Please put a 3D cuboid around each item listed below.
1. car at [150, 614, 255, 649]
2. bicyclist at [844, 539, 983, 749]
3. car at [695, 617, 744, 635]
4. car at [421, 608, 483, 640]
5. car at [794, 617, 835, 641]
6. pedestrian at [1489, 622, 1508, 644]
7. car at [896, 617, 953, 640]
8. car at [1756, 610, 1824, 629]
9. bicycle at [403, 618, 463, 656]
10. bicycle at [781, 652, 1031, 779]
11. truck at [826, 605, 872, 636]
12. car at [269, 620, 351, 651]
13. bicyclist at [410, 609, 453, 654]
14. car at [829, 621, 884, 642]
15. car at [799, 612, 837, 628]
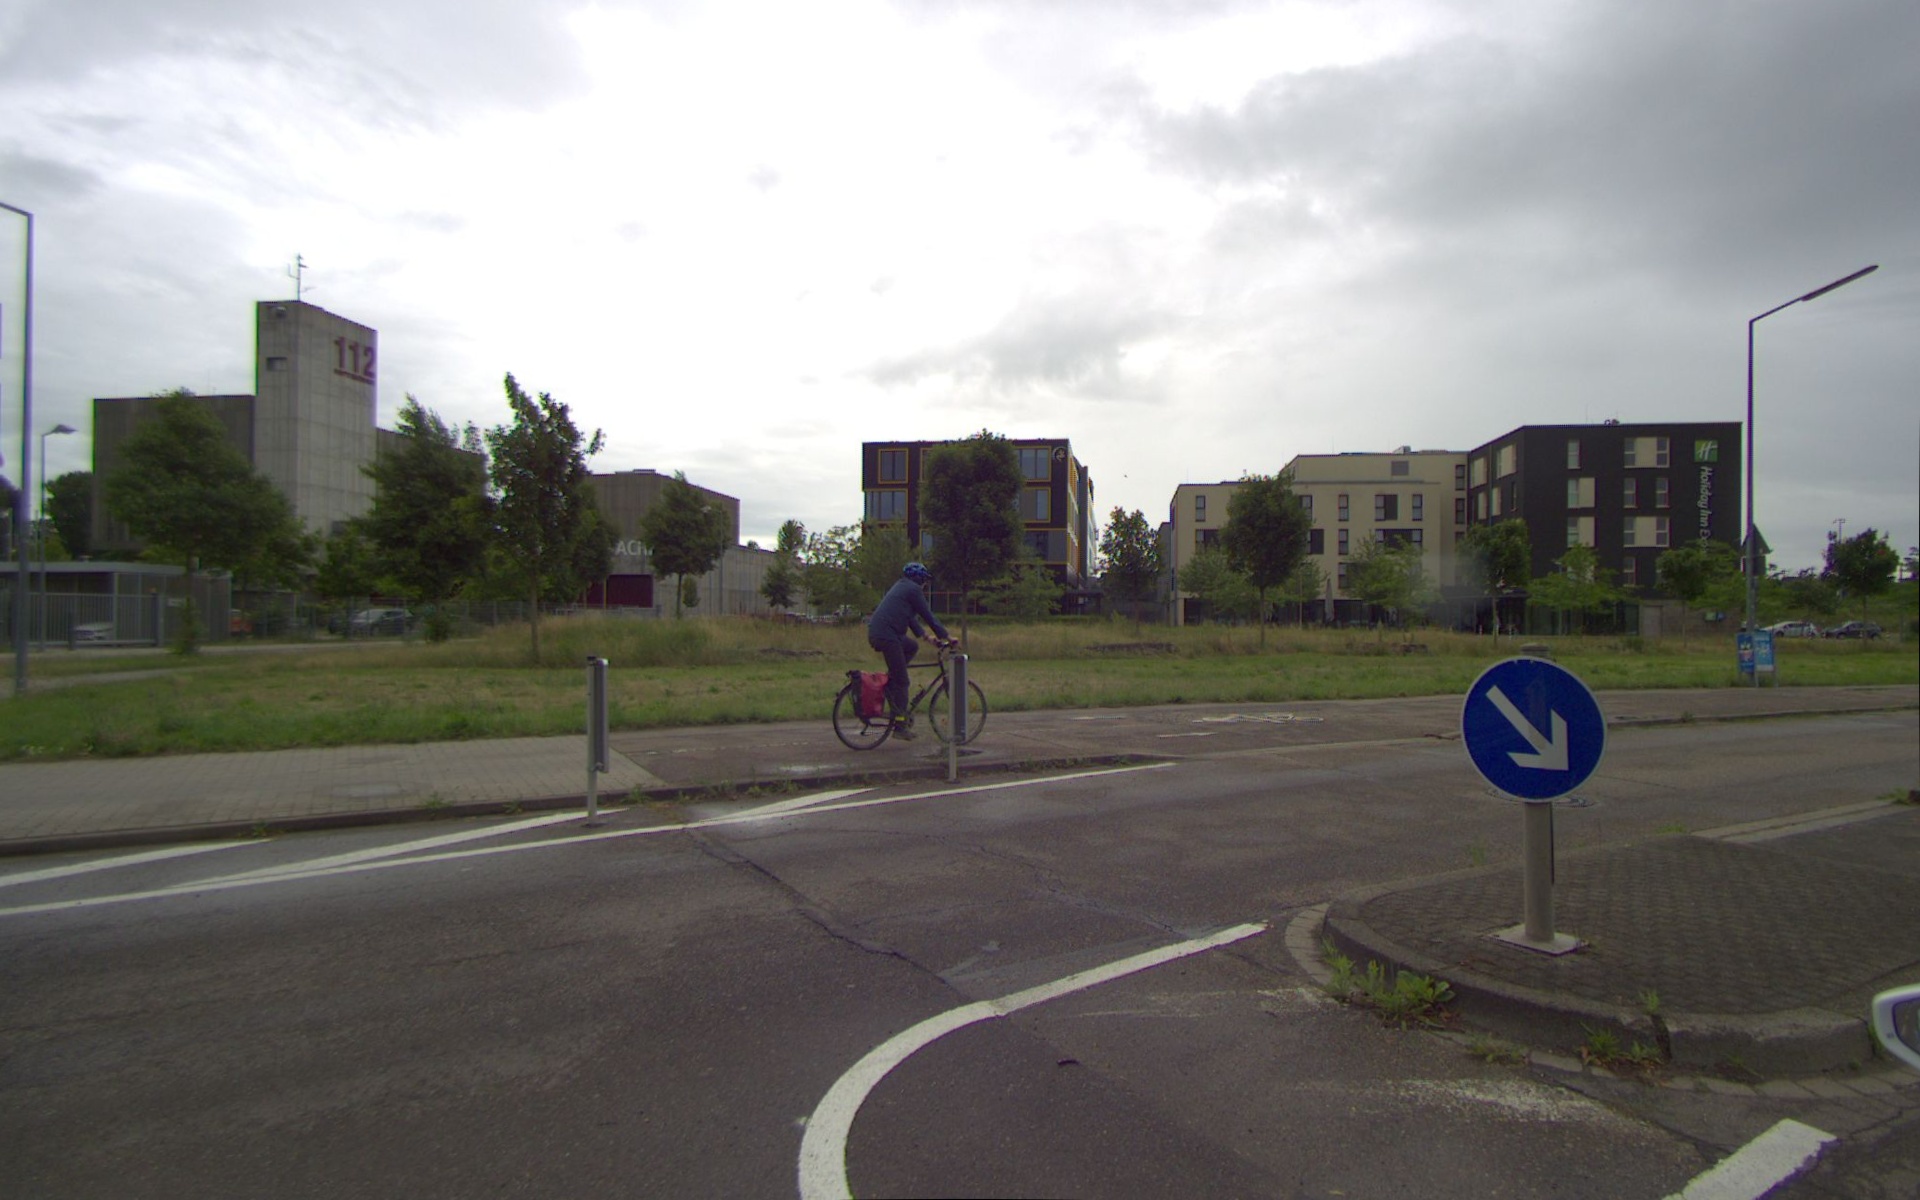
[{"bbox_3d":[-37.379,1.518,49.676,1.737,1.617,4.003,0,-1,10],"label":"car"},{"bbox_3d":[-0.488,0.427,10.393,1.163,2.040,0.857,-1,0,-30],"label":"bicyclist"},{"bbox_3d":[-21.884,2.377,91.443,3.920,1.543,2.001,-1,-2,3],"label":"car"},{"bbox_3d":[-33.852,1.577,67.052,1.960,2.040,4.001,-1,0,3],"label":"car"},{"bbox_3d":[-12.231,2.463,84.920,2.163,1.889,5.101,-1,0,7],"label":"car"},{"bbox_3d":[41.163,2.522,76.791,0.860,1.592,0.952,-1,0,-8],"label":"pedestrian"},{"bbox_3d":[-2.552,2.088,73.022,3.920,1.543,2.001,-1,-2,3],"label":"car"},{"bbox_3d":[70.747,1.645,85.654,4.071,1.538,2.000,-1,0,1],"label":"car"},{"bbox_3d":[-23.022,1.593,43.949,1.064,1.605,2.501,-1,0,7],"label":"bicycle"},{"bbox_3d":[-0.528,1.130,10.361,2.439,1.066,0.879,0,0,-30],"label":"bicycle"},{"bbox_3d":[-10.385,1.895,94.842,2.782,2.742,7.323,-1,0,7],"label":"truck"},{"bbox_3d":[-38.826,2.070,60.121,1.778,1.762,4.002,0,-1,13],"label":"car"},{"bbox_3d":[-23.074,1.353,43.897,1.055,1.924,1.403,-1,0,7],"label":"bicyclist"},{"bbox_3d":[-7.872,2.414,76.545,3.920,1.543,2.001,-1,-2,3],"label":"car"},{"bbox_3d":[-16.475,2.273,116.712,4.171,1.795,2.000,0,0,2],"label":"car"}]
